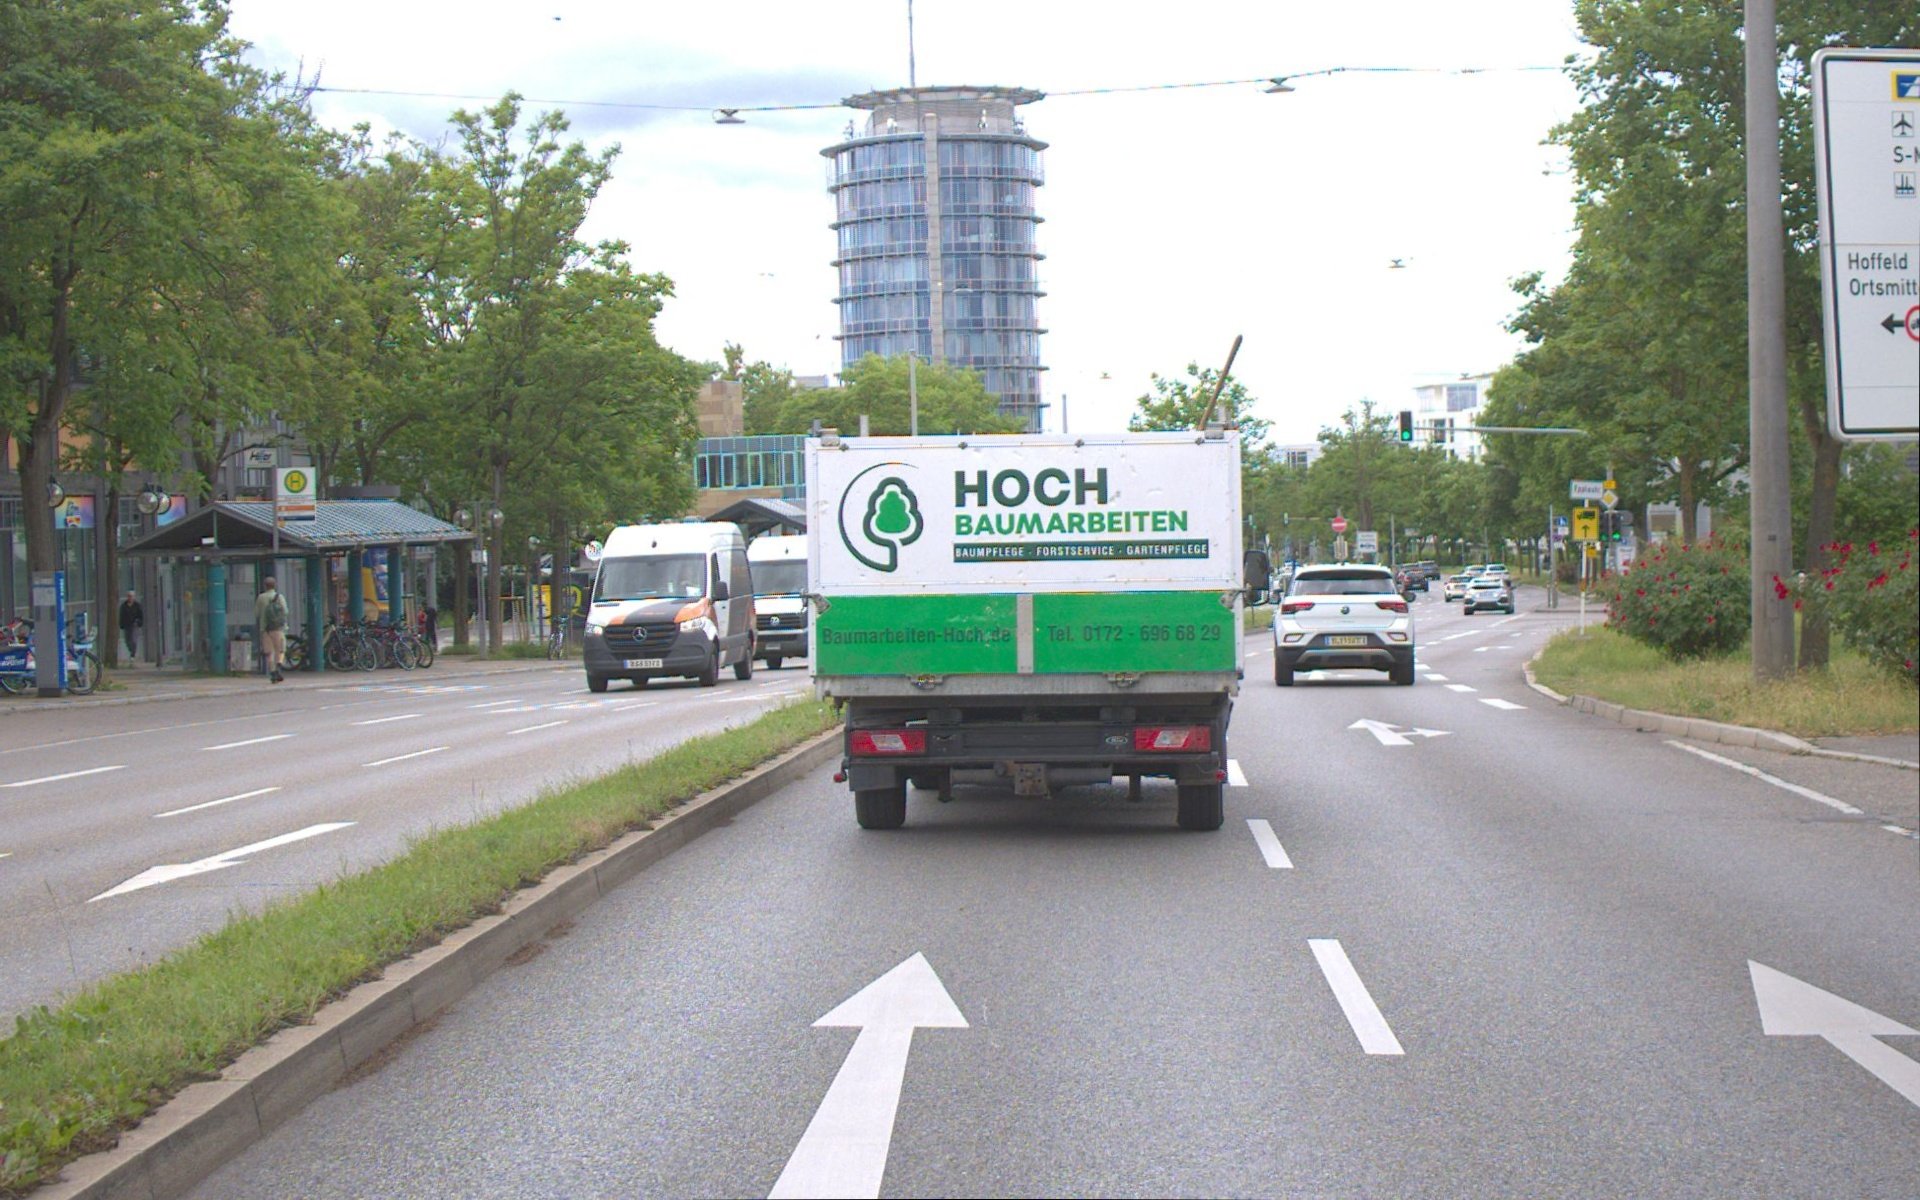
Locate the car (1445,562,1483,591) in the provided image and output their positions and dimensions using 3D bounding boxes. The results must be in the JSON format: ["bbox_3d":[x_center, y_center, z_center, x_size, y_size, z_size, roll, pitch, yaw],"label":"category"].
[{"bbox_3d":[27.639,-1.288,188.565,1.994,1.547,3.999,-2,0,8],"label":"car"}]

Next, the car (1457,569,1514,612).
[{"bbox_3d":[19.757,-0.368,129.357,1.994,1.547,3.999,-2,0,7],"label":"car"}]

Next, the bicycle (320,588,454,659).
[{"bbox_3d":[-13.032,0.530,78.153,2.899,1.501,0.598,-2,0,3],"label":"bicycle"}]

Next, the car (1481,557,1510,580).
[{"bbox_3d":[38.357,-2.270,246.293,1.994,1.547,3.999,-2,0,8],"label":"car"}]

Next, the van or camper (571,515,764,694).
[{"bbox_3d":[-4.592,0.028,54.924,1.994,2.589,6.115,-3,0,4],"label":"van or camper"}]

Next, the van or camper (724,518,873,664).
[{"bbox_3d":[-3.072,-0.203,66.730,2.032,2.589,6.115,-3,0,4],"label":"van or camper"}]

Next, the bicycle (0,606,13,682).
[{"bbox_3d":[-15.209,0.704,52.300,0.603,1.157,1.964,-2,1,15],"label":"bicycle"}]

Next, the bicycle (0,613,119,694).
[{"bbox_3d":[-13.658,0.793,51.637,0.604,1.157,1.960,1,2,44],"label":"bicycle"}]

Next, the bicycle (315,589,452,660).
[{"bbox_3d":[-12.947,0.542,77.265,2.899,1.501,0.700,-2,0,3],"label":"bicycle"}]

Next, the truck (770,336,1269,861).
[{"bbox_3d":[0.553,-0.075,20.443,2.471,2.602,6.547,0,1,5],"label":"truck"}]

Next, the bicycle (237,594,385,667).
[{"bbox_3d":[-13.596,0.632,72.052,2.899,1.501,0.972,0,0,3],"label":"bicycle"}]

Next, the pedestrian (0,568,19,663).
[{"bbox_3d":[-17.558,0.268,62.048,0.775,1.710,0.785,1,0,29],"label":"pedestrian"}]

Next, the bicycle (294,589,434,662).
[{"bbox_3d":[-13.098,0.563,75.587,2.899,1.501,0.806,-2,0,3],"label":"bicycle"}]

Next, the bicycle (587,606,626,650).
[{"bbox_3d":[-9.067,0.715,88.268,0.830,1.080,1.936,-2,0,-2],"label":"bicycle"}]

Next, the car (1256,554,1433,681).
[{"bbox_3d":[5.022,0.186,45.464,1.868,1.500,4.773,-1,1,1],"label":"car"}]

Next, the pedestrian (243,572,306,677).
[{"bbox_3d":[-12.093,0.431,60.683,0.704,1.816,1.213,0,0,8],"label":"pedestrian"}]

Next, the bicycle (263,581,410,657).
[{"bbox_3d":[-13.257,0.397,73.108,2.899,1.501,0.891,-2,0,3],"label":"bicycle"}]

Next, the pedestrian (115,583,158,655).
[{"bbox_3d":[-19.875,0.451,82.950,0.770,1.710,0.822,1,0,6],"label":"pedestrian"}]

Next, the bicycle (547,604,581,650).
[{"bbox_3d":[-10.177,0.693,88.338,0.713,1.133,1.957,-2,0,-3],"label":"bicycle"}]

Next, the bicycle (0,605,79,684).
[{"bbox_3d":[-14.662,0.696,53.658,0.604,1.157,1.685,-1,1,42],"label":"bicycle"}]

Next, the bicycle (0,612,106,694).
[{"bbox_3d":[-14.053,0.805,52.427,0.604,1.157,1.960,-1,1,43],"label":"bicycle"}]

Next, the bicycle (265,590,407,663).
[{"bbox_3d":[-13.601,0.571,74.980,2.899,1.501,0.806,-2,0,3],"label":"bicycle"}]
